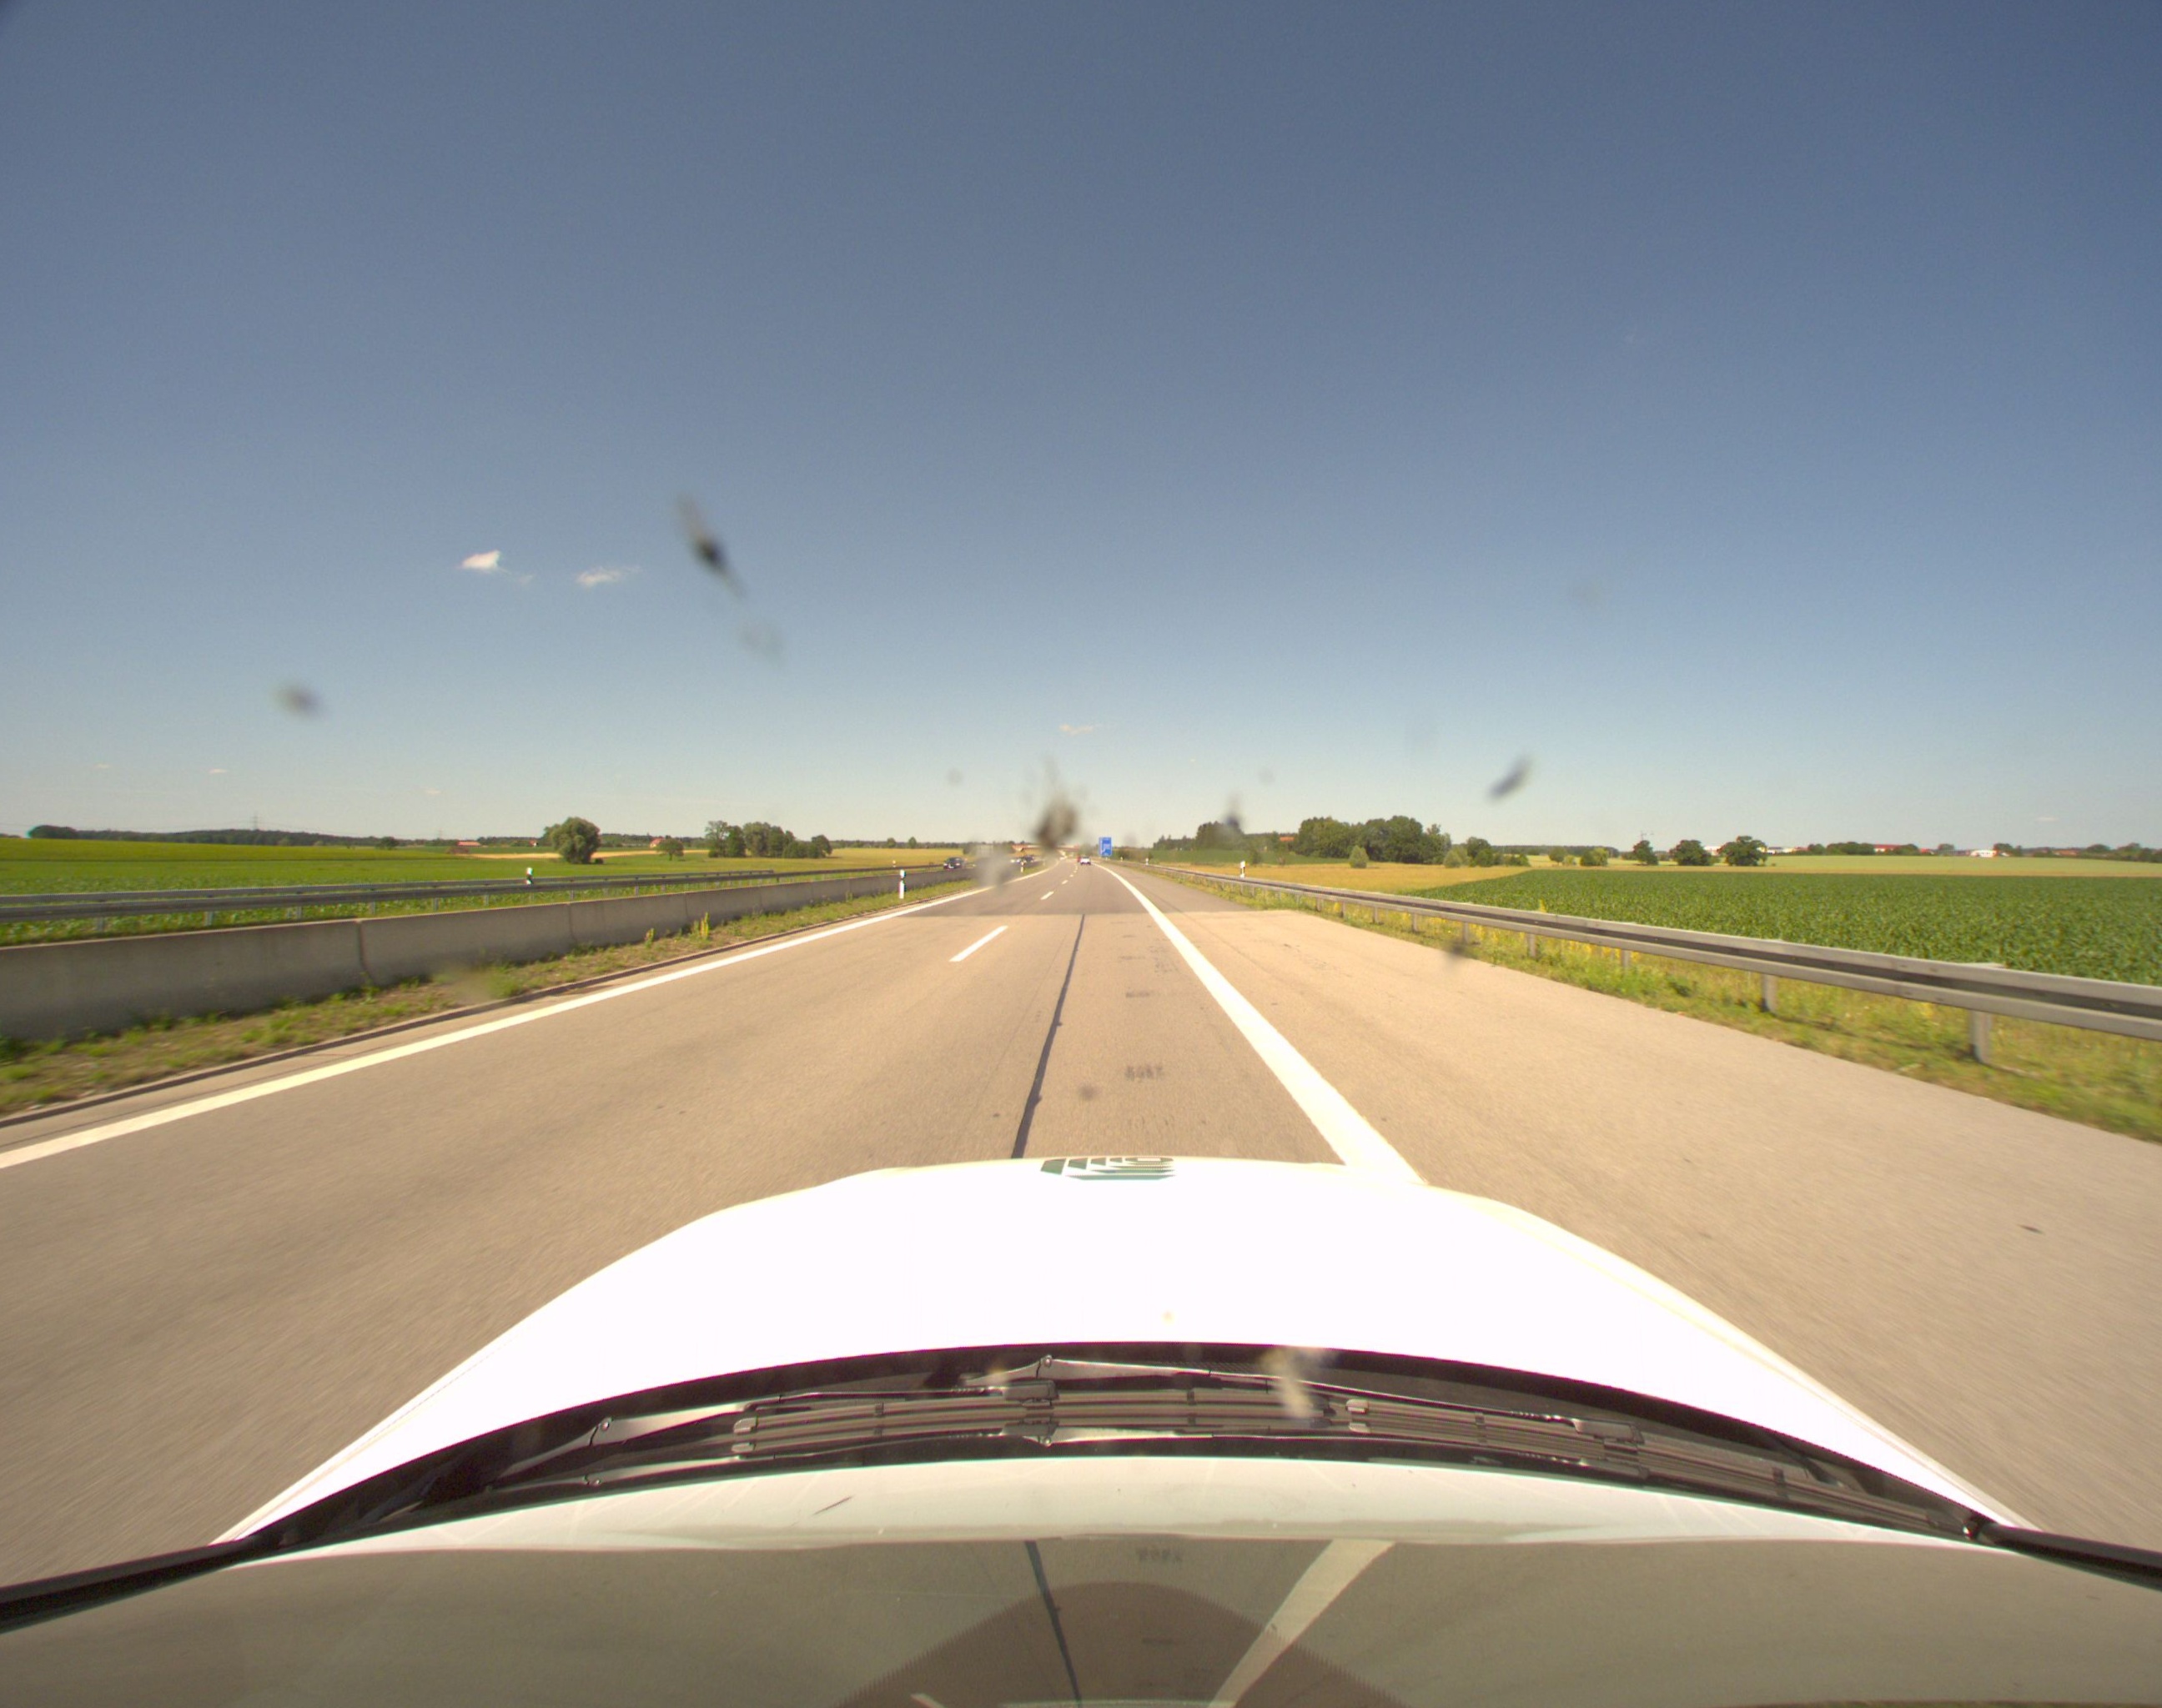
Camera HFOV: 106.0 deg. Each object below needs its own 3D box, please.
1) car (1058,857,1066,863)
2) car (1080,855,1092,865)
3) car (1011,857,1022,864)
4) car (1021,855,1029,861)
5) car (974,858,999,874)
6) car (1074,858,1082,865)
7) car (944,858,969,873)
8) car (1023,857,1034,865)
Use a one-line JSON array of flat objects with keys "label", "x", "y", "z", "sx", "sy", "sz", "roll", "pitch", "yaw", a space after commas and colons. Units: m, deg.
[{"label": "car", "x": -5.993, "y": 1.944, "z": 261.829, "sx": 1.993, "sy": 1.731, "sz": 4.853, "roll": 0, "pitch": 0, "yaw": -9}, {"label": "car", "x": 0.950, "y": 1.110, "z": 147.527, "sx": 1.988, "sy": 1.731, "sz": 4.866, "roll": 0, "pitch": 0, "yaw": -1}, {"label": "car", "x": -13.857, "y": 1.452, "z": 175.337, "sx": 1.817, "sy": 1.365, "sz": 5.294, "roll": -1, "pitch": 0, "yaw": -1}, {"label": "car", "x": -14.912, "y": 1.121, "z": 216.992, "sx": 1.853, "sy": 1.584, "sz": 4.910, "roll": -1, "pitch": 0, "yaw": -2}, {"label": "car", "x": -9.253, "y": 1.168, "z": 80.105, "sx": 1.817, "sy": 1.365, "sz": 5.197, "roll": -1, "pitch": 0, "yaw": 0}, {"label": "car", "x": -0.788, "y": 1.808, "z": 197.978, "sx": 1.988, "sy": 1.731, "sz": 4.866, "roll": 0, "pitch": 0, "yaw": -1}, {"label": "car", "x": -12.960, "y": 1.185, "z": 84.771, "sx": 1.817, "sy": 1.365, "sz": 4.663, "roll": -1, "pitch": 0, "yaw": 0}, {"label": "car", "x": -9.783, "y": 1.370, "z": 152.516, "sx": 1.818, "sy": 1.365, "sz": 4.656, "roll": -1, "pitch": 0, "yaw": -2}]
